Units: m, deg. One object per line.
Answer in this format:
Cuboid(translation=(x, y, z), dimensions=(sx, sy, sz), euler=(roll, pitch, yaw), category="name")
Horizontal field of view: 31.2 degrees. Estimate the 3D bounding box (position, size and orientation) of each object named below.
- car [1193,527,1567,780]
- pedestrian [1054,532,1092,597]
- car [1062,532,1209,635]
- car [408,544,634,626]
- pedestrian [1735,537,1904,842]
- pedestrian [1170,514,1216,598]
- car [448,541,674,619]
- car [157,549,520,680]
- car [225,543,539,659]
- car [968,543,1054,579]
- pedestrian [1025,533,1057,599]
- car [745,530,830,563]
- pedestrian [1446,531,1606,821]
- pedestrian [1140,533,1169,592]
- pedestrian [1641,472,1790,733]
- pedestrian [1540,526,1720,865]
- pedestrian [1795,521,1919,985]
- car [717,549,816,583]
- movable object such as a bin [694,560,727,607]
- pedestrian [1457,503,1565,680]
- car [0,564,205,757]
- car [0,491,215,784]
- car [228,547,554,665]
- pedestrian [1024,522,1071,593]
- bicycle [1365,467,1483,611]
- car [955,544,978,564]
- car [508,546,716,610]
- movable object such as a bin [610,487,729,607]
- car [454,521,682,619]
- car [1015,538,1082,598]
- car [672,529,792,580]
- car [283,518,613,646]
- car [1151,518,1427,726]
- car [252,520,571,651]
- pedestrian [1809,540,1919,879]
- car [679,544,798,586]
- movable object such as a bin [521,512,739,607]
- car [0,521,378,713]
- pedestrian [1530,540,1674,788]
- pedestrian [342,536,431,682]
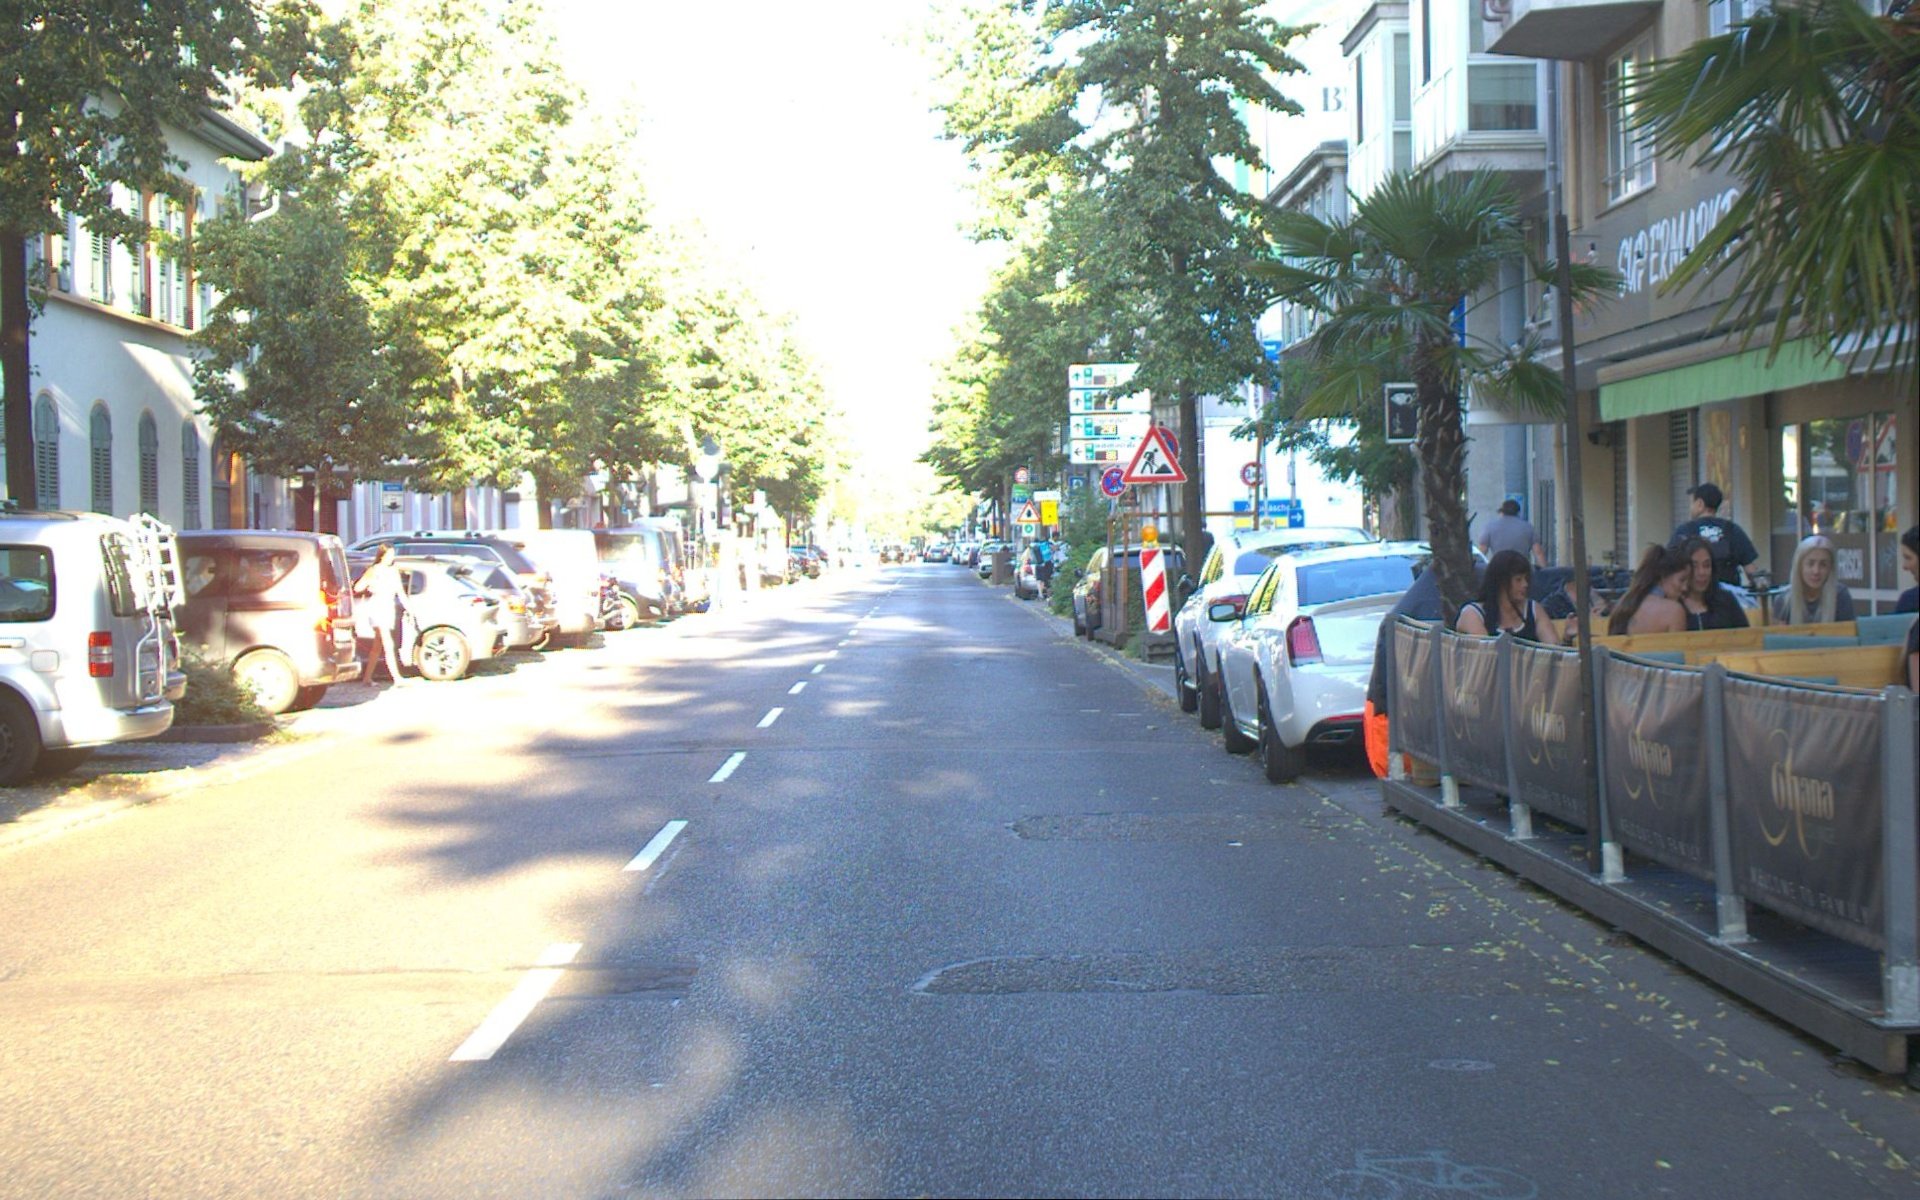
Cuboid(translation=(2.797, 0.288, 24.032), dimensions=(1.842, 1.475, 5.190), euler=(-3, 1, -1), category="car")
Cuboid(translation=(3.043, -0.959, 92.933), dimensions=(0.651, 1.694, 0.667), euler=(-4, 1, -44), category="pedestrian")
Cuboid(translation=(2.754, -0.294, 54.880), dimensions=(1.828, 1.483, 4.850), euler=(-3, 1, -2), category="car")
Cuboid(translation=(-8.174, -0.290, 64.257), dimensions=(3.923, 1.496, 1.905), euler=(0, 1, 2), category="car")
Cuboid(translation=(4.037, 0.410, 16.178), dimensions=(0.577, 1.380, 0.603), euler=(-3, 1, 0), category="pedestrian")
Cuboid(translation=(5.278, -1.002, 77.871), dimensions=(0.822, 1.847, 1.097), euler=(-3, 1, -2), category="pedestrian")
Cuboid(translation=(-7.785, -0.405, 67.300), dimensions=(4.325, 1.496, 1.842), euler=(0, 1, -5), category="car")
Cuboid(translation=(-7.378, 0.157, 41.092), dimensions=(4.058, 1.456, 1.686), euler=(-1, 1, -3), category="car")
Cuboid(translation=(-8.131, -0.002, 48.628), dimensions=(4.037, 1.550, 1.964), euler=(-1, 1, 2), category="car")
Cuboid(translation=(2.279, -1.760, 152.812), dimensions=(1.674, 1.583, 3.814), euler=(1, 1, 43), category="car")
Cuboid(translation=(2.194, -0.925, 93.225), dimensions=(0.677, 1.748, 0.825), euler=(-2, 0, -11), category="pedestrian")
Cuboid(translation=(-9.145, -2.824, 182.510), dimensions=(4.442, 1.753, 1.919), euler=(0, 0, 0), category="car")
Cuboid(translation=(2.672, 0.348, 16.271), dimensions=(0.577, 1.315, 0.704), euler=(-3, 1, 0), category="pedestrian")
Cuboid(translation=(5.293, -1.021, 93.768), dimensions=(0.658, 1.557, 0.701), euler=(-3, 1, 0), category="pedestrian")
Cuboid(translation=(5.066, 0.008, 23.095), dimensions=(0.788, 1.698, 0.700), euler=(-2, 1, 0), category="pedestrian")
Cuboid(translation=(2.832, 0.392, 14.576), dimensions=(0.577, 1.380, 0.603), euler=(-3, 1, 0), category="pedestrian")
Cuboid(translation=(3.235, 0.479, 11.478), dimensions=(0.631, 1.480, 0.795), euler=(-3, 1, 0), category="pedestrian")
Cuboid(translation=(-8.913, -1.557, 158.617), dimensions=(4.442, 1.562, 1.919), euler=(0, 1, 0), category="car")
Cuboid(translation=(-5.941, -0.399, 81.907), dimensions=(0.690, 1.101, 0.883), euler=(-2, 1, 1), category="movable object such as a bin")
Cuboid(translation=(5.704, -0.094, 35.645), dimensions=(0.855, 1.788, 0.997), euler=(-2, 1, -4), category="pedestrian")
Cuboid(translation=(-8.141, 0.457, 26.758), dimensions=(4.152, 1.435, 1.593), euler=(0, 1, 1), category="car")
Cuboid(translation=(-7.650, 0.243, 23.872), dimensions=(4.500, 1.947, 1.919), euler=(0, 1, 2), category="car")
Cuboid(translation=(-7.594, 0.068, 46.164), dimensions=(4.037, 1.478, 1.963), euler=(-1, 1, -1), category="car")
Cuboid(translation=(2.302, -1.118, 90.467), dimensions=(1.013, 1.819, 0.780), euler=(-3, 1, -10), category="pedestrian")
Cuboid(translation=(4.314, -0.572, 32.092), dimensions=(0.775, 1.258, 2.050), euler=(-3, 1, 0), category="bicycle")
Cuboid(translation=(0.471, -3.097, 232.406), dimensions=(1.513, 1.271, 3.303), euler=(0, 0, 1), category="car")
Cuboid(translation=(-8.057, -0.512, 79.881), dimensions=(4.594, 1.465, 1.892), euler=(0, 1, 3), category="car")
Cuboid(translation=(-7.412, -1.363, 88.131), dimensions=(2.625, 2.959, 5.304), euler=(-1, 1, -1), category="movable object such as a bin")
Cuboid(translation=(-8.099, -0.632, 71.389), dimensions=(4.483, 1.969, 2.068), euler=(0, 1, 0), category="car")
Cuboid(translation=(2.461, -0.914, 96.422), dimensions=(1.687, 1.569, 4.013), euler=(-3, 1, 0), category="car")
Cuboid(translation=(-8.881, -1.779, 134.340), dimensions=(4.571, 1.955, 1.991), euler=(0, 0, 0), category="car")
Cuboid(translation=(-7.995, -0.293, 53.996), dimensions=(4.870, 1.901, 1.974), euler=(-1, 1, 0), category="car")
Cuboid(translation=(2.781, 0.136, 30.065), dimensions=(1.879, 1.568, 4.692), euler=(-3, 1, 0), category="car")
Cuboid(translation=(-8.134, -0.229, 51.269), dimensions=(4.428, 1.863, 1.894), euler=(-1, 1, 0), category="car")
Cuboid(translation=(4.001, 0.444, 14.533), dimensions=(0.577, 1.380, 0.718), euler=(-3, 1, 0), category="pedestrian")
Cuboid(translation=(-8.812, -1.399, 137.046), dimensions=(4.571, 1.692, 2.060), euler=(0, 1, 0), category="car")
Cuboid(translation=(-8.843, -1.113, 92.521), dimensions=(2.312, 2.486, 5.740), euler=(0, 1, 43), category="movable object such as a bin")
Cuboid(translation=(-8.025, 0.153, 34.117), dimensions=(4.138, 1.800, 1.807), euler=(-1, 1, 1), category="car")
Cuboid(translation=(3.329, 0.324, 17.863), dimensions=(0.577, 1.239, 0.603), euler=(-3, 1, 0), category="pedestrian")
Cuboid(translation=(-6.532, 0.096, 39.205), dimensions=(0.827, 1.632, 0.827), euler=(-1, 1, 0), category="pedestrian")
